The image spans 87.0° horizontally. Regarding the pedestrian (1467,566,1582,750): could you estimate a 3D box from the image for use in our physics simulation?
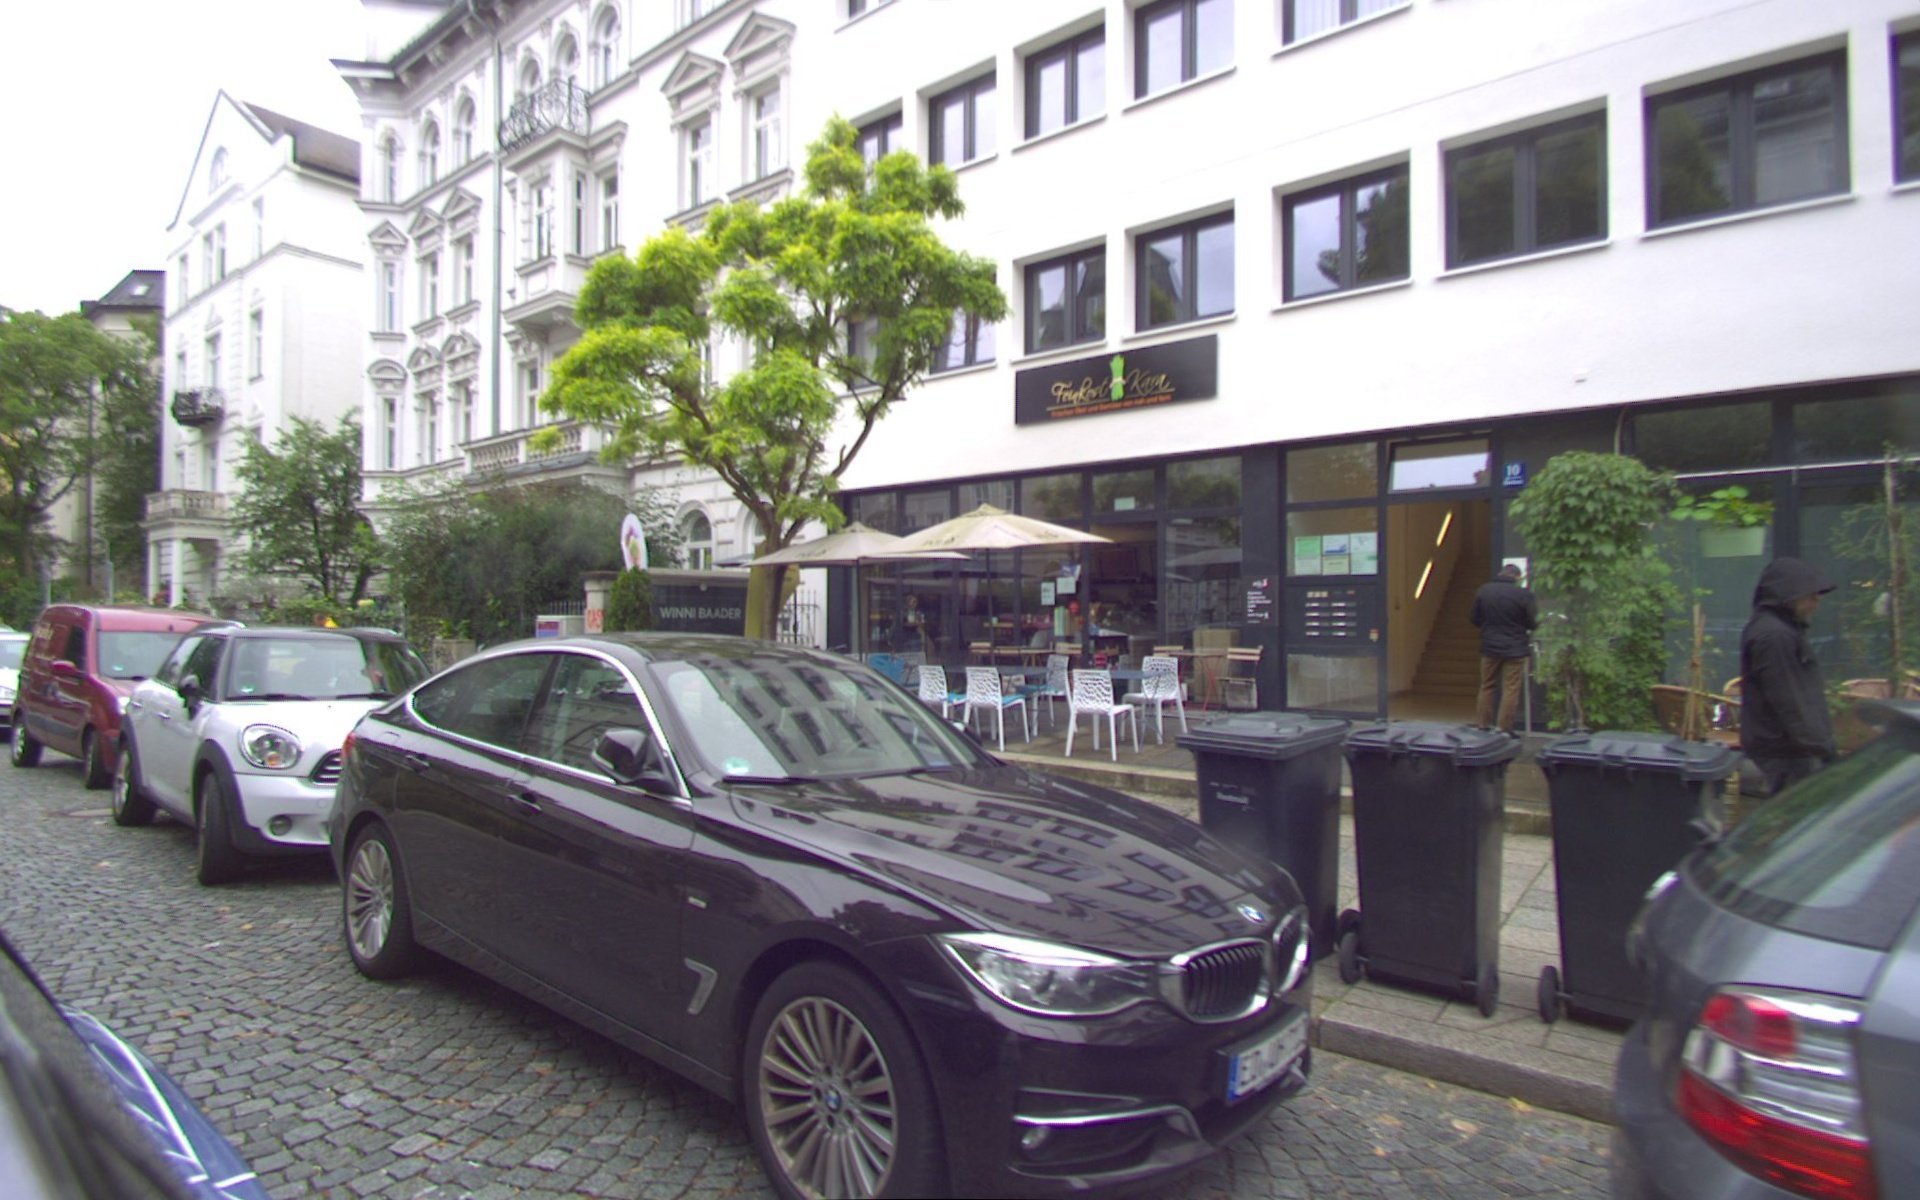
[{"bbox_3d":[5.367,0.537,9.629,0.783,1.673,0.549,-4,-1,41],"label":"pedestrian"}]

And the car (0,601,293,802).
[{"bbox_3d":[-8.730,0.932,10.663,3.894,1.736,1.701,-1,-3,39],"label":"car"}]

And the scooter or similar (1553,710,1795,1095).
[{"bbox_3d":[2.484,0.976,3.546,0.626,1.101,0.601,-1,-1,36],"label":"scooter or similar"}]

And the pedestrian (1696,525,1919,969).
[{"bbox_3d":[3.926,0.621,4.643,0.811,1.854,0.609,-1,-1,32],"label":"pedestrian"}]

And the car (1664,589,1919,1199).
[{"bbox_3d":[3.067,0.712,0.858,3.976,1.494,1.646,-1,-1,38],"label":"car"}]

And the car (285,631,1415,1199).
[{"bbox_3d":[-0.837,0.888,3.929,4.469,1.476,1.708,-2,-4,40],"label":"car"}]

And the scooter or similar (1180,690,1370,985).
[{"bbox_3d":[1.386,0.977,4.442,0.624,1.101,0.601,-1,-1,36],"label":"scooter or similar"}]

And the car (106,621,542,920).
[{"bbox_3d":[-4.608,0.915,7.111,3.776,1.515,1.675,-1,-1,43],"label":"car"}]

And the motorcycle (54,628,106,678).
[{"bbox_3d":[-27.056,1.610,31.113,2.241,1.439,0.730,-1,0,36],"label":"motorcycle"}]

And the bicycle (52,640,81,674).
[{"bbox_3d":[-29.071,1.840,32.915,1.741,1.058,0.353,-1,-1,36],"label":"bicycle"}]

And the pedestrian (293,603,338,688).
[{"bbox_3d":[-12.825,0.902,20.144,0.569,1.659,0.822,2,-3,-45],"label":"pedestrian"}]

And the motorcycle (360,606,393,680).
[{"bbox_3d":[-9.759,0.700,16.911,0.326,1.189,1.629,0,-1,-36],"label":"motorcycle"}]

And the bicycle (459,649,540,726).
[{"bbox_3d":[-6.785,1.271,14.871,1.682,1.087,0.255,-3,-2,35],"label":"bicycle"}]

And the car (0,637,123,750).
[{"bbox_3d":[-13.653,1.266,14.606,3.810,1.404,1.616,-1,-1,37],"label":"car"}]

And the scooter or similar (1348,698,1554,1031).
[{"bbox_3d":[1.950,0.974,4.009,0.625,1.101,0.601,-1,-1,36],"label":"scooter or similar"}]

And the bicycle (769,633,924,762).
[{"bbox_3d":[-1.187,0.935,10.223,1.910,1.184,0.356,-1,-1,41],"label":"bicycle"}]

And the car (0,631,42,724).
[{"bbox_3d":[-18.460,1.391,18.587,4.061,1.584,1.674,-1,-1,37],"label":"car"}]
